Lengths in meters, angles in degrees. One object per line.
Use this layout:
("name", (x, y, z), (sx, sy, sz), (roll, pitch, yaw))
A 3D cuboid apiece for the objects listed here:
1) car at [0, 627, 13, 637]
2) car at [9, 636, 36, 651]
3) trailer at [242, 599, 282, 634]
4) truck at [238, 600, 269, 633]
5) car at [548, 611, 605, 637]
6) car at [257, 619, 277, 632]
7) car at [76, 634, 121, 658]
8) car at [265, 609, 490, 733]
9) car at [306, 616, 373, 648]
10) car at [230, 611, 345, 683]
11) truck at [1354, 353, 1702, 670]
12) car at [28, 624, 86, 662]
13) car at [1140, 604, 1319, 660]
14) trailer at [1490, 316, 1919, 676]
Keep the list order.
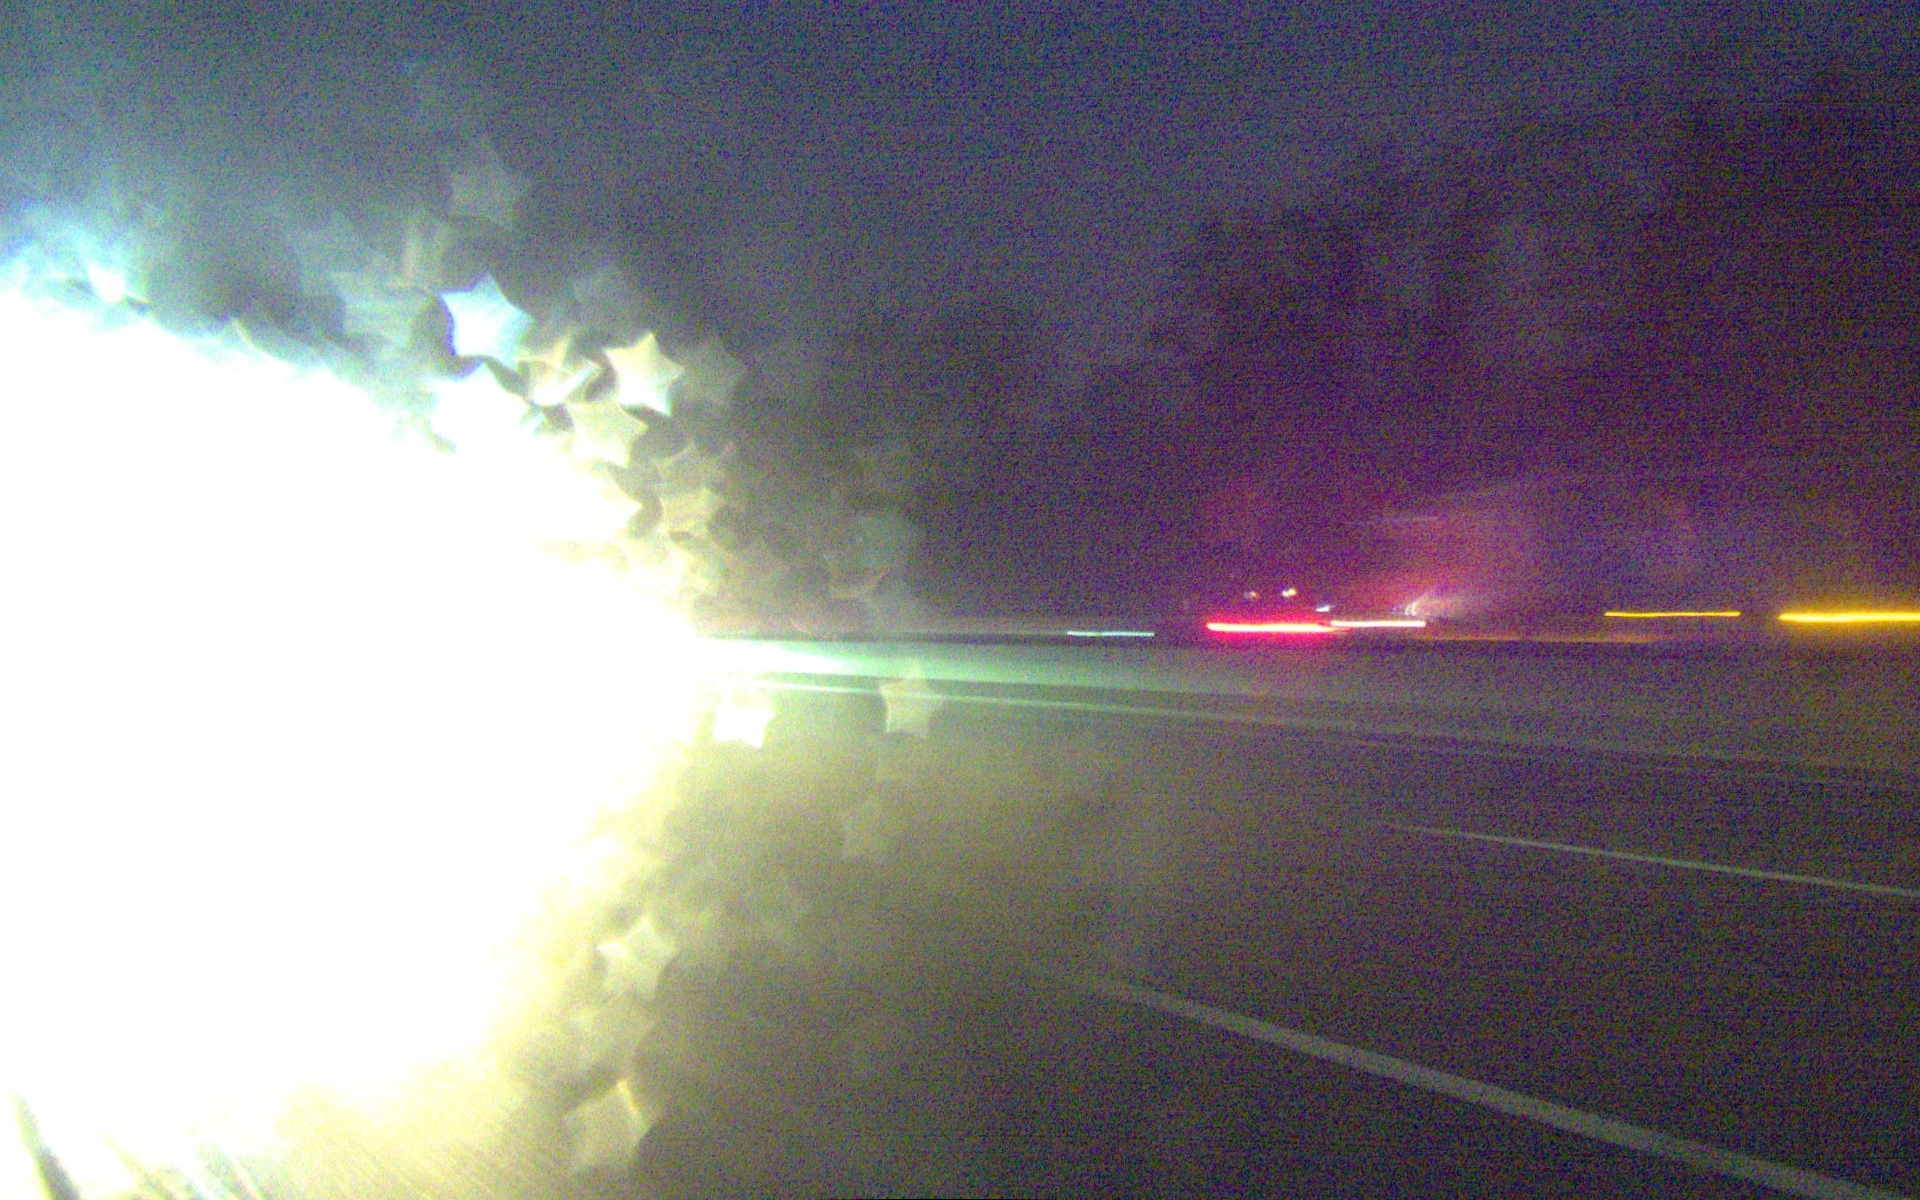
("car", (-147.950, 5.027, 156.504), (1.971, 1.397, 4.002), (-4, 2, -45))
("car", (-83.571, 3.859, 90.243), (1.669, 1.165, 3.423), (-1, 0, -45))
("trailer", (-108.704, 2.553, 157.560), (3.225, 5.106, 13.986), (-1, 0, -42))
("truck", (-114.344, 2.661, 163.712), (3.225, 5.106, 6.034), (-1, 0, -43))
("car", (-23.750, 1.489, 62.631), (3.987, 1.482, 1.756), (-1, 2, 45))
("car", (-95.962, 3.494, 140.031), (1.754, 1.608, 4.230), (-3, 2, -41))
("car", (-65.284, 3.437, 76.671), (2.278, 1.621, 3.873), (-1, 0, -45))
("car", (-9.059, 0.976, 15.578), (4.234, 1.606, 1.894), (-1, 0, 44))
("car", (-35.528, 1.812, 57.919), (4.672, 1.608, 1.973), (-1, 2, 42))
("car", (-20.858, 1.382, 31.327), (2.113, 2.029, 4.531), (-1, 0, -45))
("truck", (12.823, -1.790, 23.058), (6.170, 6.172, 3.427), (-1, 3, 42))
("car", (-44.087, 2.064, 49.389), (1.970, 1.689, 4.003), (-1, 0, -44))
("car", (6.239, 0.720, 23.606), (3.655, 1.164, 1.685), (-1, 0, 40))
("trailer", (18.045, -1.904, 18.322), (14.403, 6.172, 3.427), (-1, 3, 42))
